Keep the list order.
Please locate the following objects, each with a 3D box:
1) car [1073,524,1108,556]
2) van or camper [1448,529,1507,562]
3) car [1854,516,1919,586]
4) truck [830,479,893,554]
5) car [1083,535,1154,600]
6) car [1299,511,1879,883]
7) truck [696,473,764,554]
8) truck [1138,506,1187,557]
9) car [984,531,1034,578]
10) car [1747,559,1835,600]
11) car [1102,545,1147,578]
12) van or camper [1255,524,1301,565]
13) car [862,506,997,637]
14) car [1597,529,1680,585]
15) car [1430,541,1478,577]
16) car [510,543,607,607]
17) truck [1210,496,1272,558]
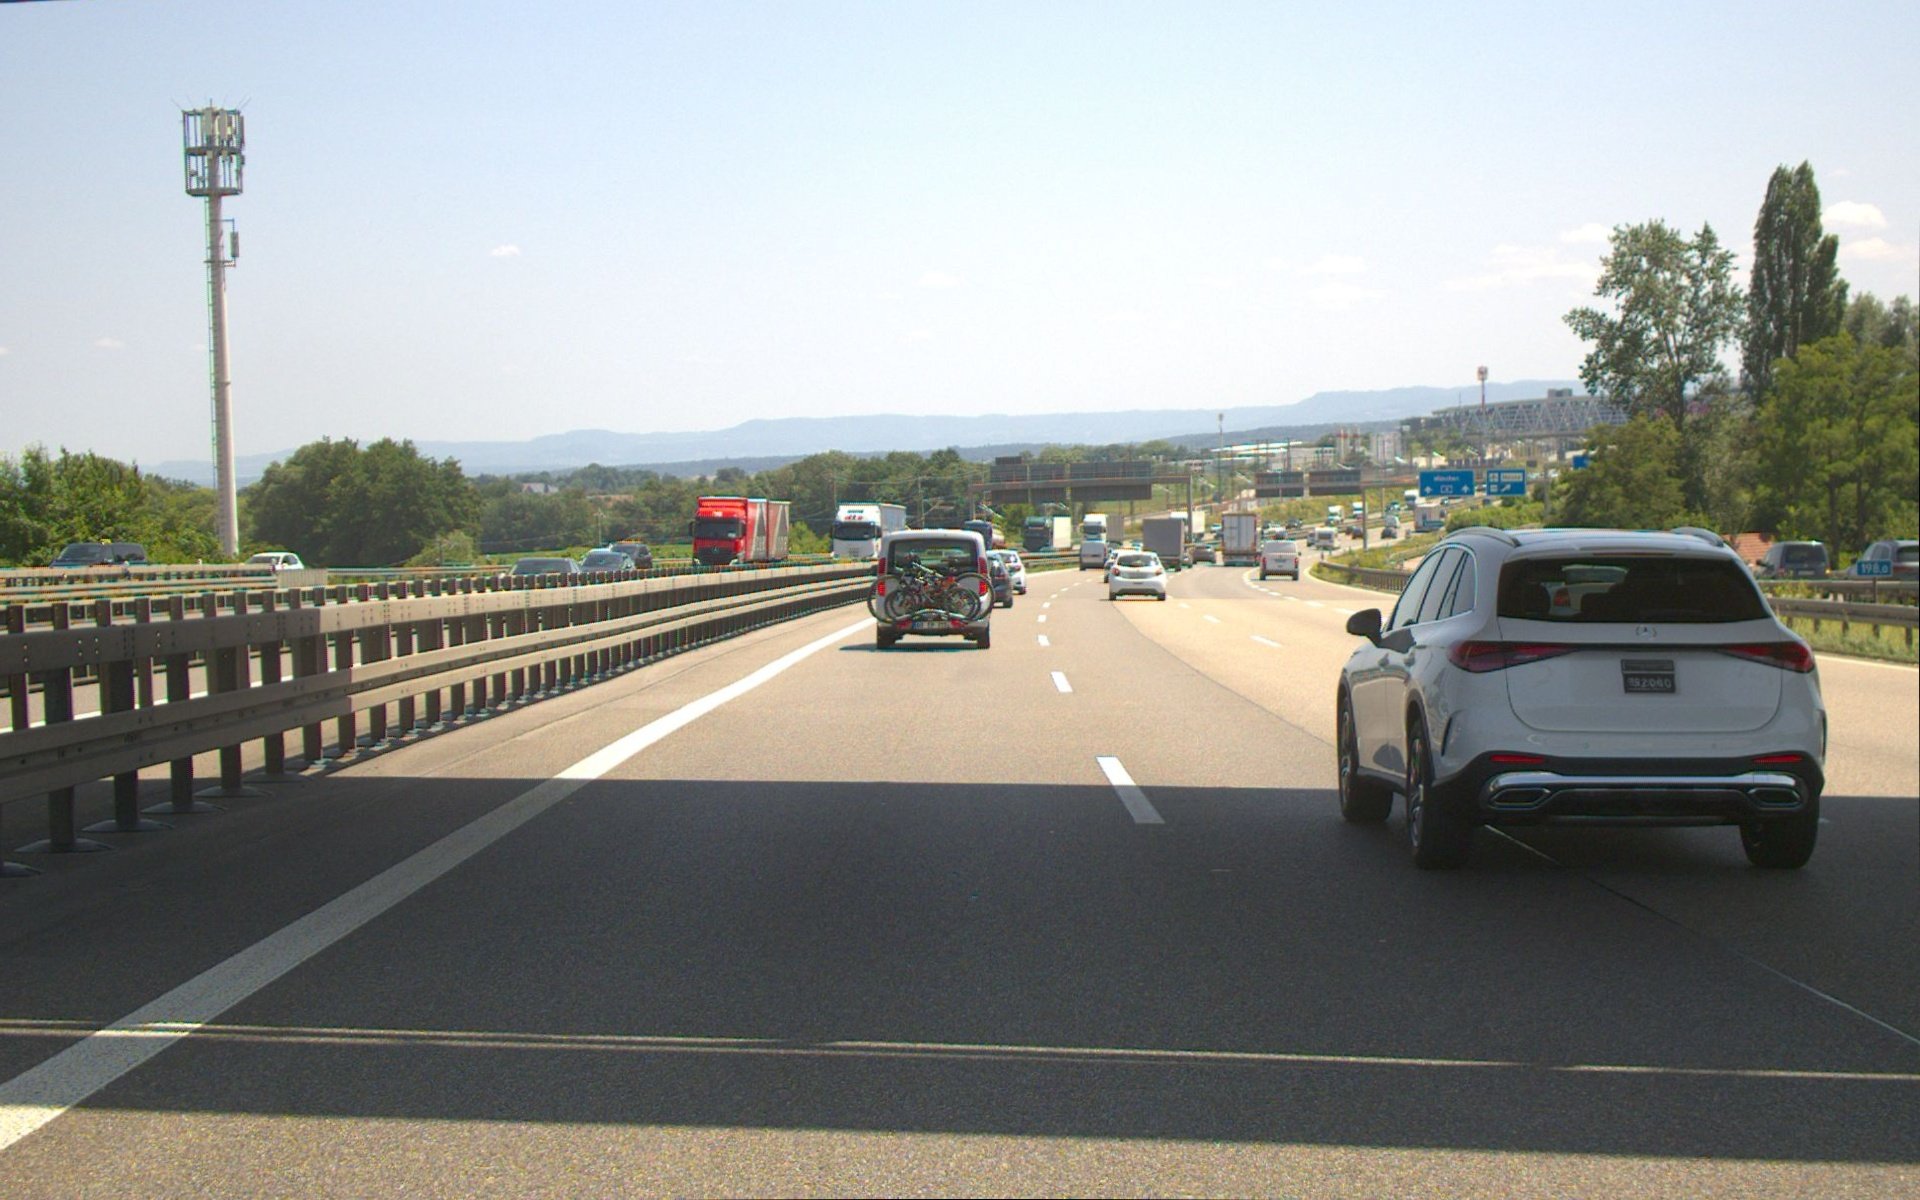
[{"bbox_3d":[8.277,-3.803,217.826,2.186,1.996,4.000,1,1,2],"label":"car"},{"bbox_3d":[32.238,-3.391,214.314,2.528,2.007,4.462,0,1,-6],"label":"van or camper"},{"bbox_3d":[21.983,-1.133,79.428,1.699,1.569,4.128,1,1,2],"label":"car"},{"bbox_3d":[-5.760,-4.887,202.408,2.928,4.330,6.915,1,1,5],"label":"truck"},{"bbox_3d":[4.769,-0.997,103.956,1.926,1.912,4.518,1,1,0],"label":"car"},{"bbox_3d":[3.047,0.394,17.786,1.898,1.641,4.999,1,1,-2],"label":"car"},{"bbox_3d":[-12.007,-4.484,180.416,2.582,4.101,10.348,0,1,2],"label":"truck"},{"bbox_3d":[12.816,-4.269,216.776,2.703,3.098,10.657,1,1,5],"label":"truck"},{"bbox_3d":[1.658,-1.526,115.905,1.576,1.547,3.964,1,1,2],"label":"car"},{"bbox_3d":[26.566,-0.664,110.015,1.699,1.273,4.000,1,1,-2],"label":"car"},{"bbox_3d":[7.377,-1.725,154.378,1.982,1.468,4.000,0,1,3],"label":"car"},{"bbox_3d":[15.893,-2.774,172.192,2.156,2.007,4.304,1,1,4],"label":"van or camper"},{"bbox_3d":[-0.425,-0.456,53.355,1.926,1.912,4.948,1,1,1],"label":"car"},{"bbox_3d":[23.954,-1.522,121.458,1.939,1.917,4.180,1,1,-2],"label":"car"},{"bbox_3d":[27.669,-2.309,192.497,1.993,2.007,4.000,1,1,-2],"label":"car"},{"bbox_3d":[-9.132,-0.589,78.441,1.630,1.406,4.100,0,1,2],"label":"car"},{"bbox_3d":[21.534,-5.627,263.209,4.040,4.247,11.755,0,3,8],"label":"truck"}]
